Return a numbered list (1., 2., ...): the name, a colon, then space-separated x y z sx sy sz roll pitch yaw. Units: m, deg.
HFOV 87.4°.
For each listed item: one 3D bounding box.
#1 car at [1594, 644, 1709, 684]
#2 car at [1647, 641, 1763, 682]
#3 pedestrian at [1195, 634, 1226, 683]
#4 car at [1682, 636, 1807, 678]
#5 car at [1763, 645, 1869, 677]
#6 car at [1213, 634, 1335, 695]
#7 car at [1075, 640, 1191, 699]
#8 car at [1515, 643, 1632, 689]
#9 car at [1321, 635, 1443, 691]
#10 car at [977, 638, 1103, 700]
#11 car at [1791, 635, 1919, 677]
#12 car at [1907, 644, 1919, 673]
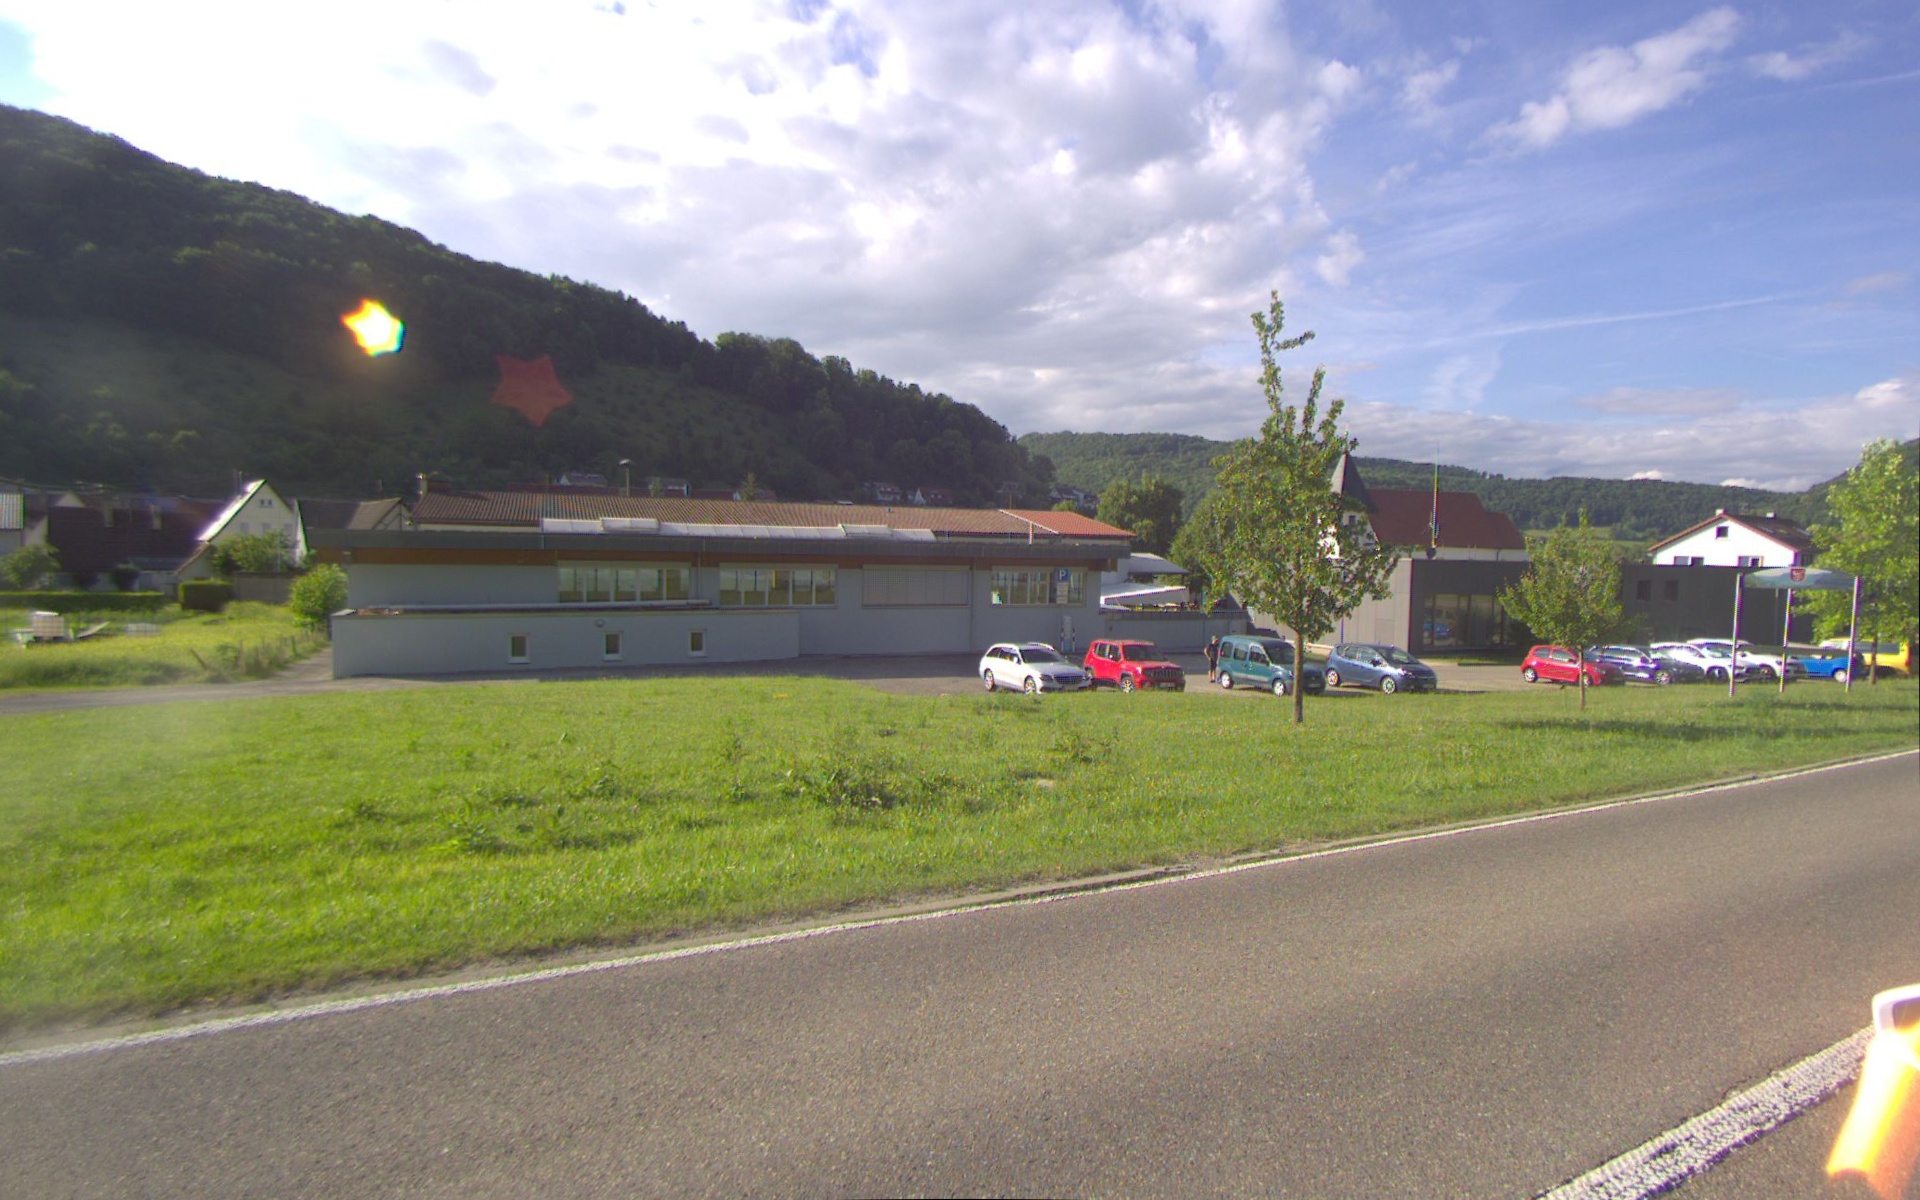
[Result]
1. car: 28.183 2.584 41.066 1.573 1.423 3.618 1 -1 -21
2. car: 31.159 2.535 42.110 1.573 1.513 3.660 1 -1 -21
3. pedestrian: 9.078 2.107 36.386 0.696 1.716 0.791 1 1 -27
4. car: 34.026 2.447 43.685 1.573 1.695 4.070 1 -2 -21
5. car: 39.370 2.783 46.267 1.640 1.391 3.355 1 -2 -29
6. car: 10.311 2.074 33.240 1.732 1.745 3.851 1 0 -24
7. car: 5.258 2.086 31.015 1.730 1.600 3.911 1 -1 -22
8. car: 23.701 2.504 38.934 1.624 1.463 3.618 0 1 -21
9. car: 14.547 2.135 34.847 1.707 1.744 3.810 1 -1 -22
10. car: 2.337 2.035 30.686 1.971 1.610 4.631 1 -1 -22
11. car: 41.957 2.574 46.899 1.814 1.838 4.546 1 -2 -21
12. car: 50.896 3.016 51.104 1.487 1.458 3.706 1 -2 -21
